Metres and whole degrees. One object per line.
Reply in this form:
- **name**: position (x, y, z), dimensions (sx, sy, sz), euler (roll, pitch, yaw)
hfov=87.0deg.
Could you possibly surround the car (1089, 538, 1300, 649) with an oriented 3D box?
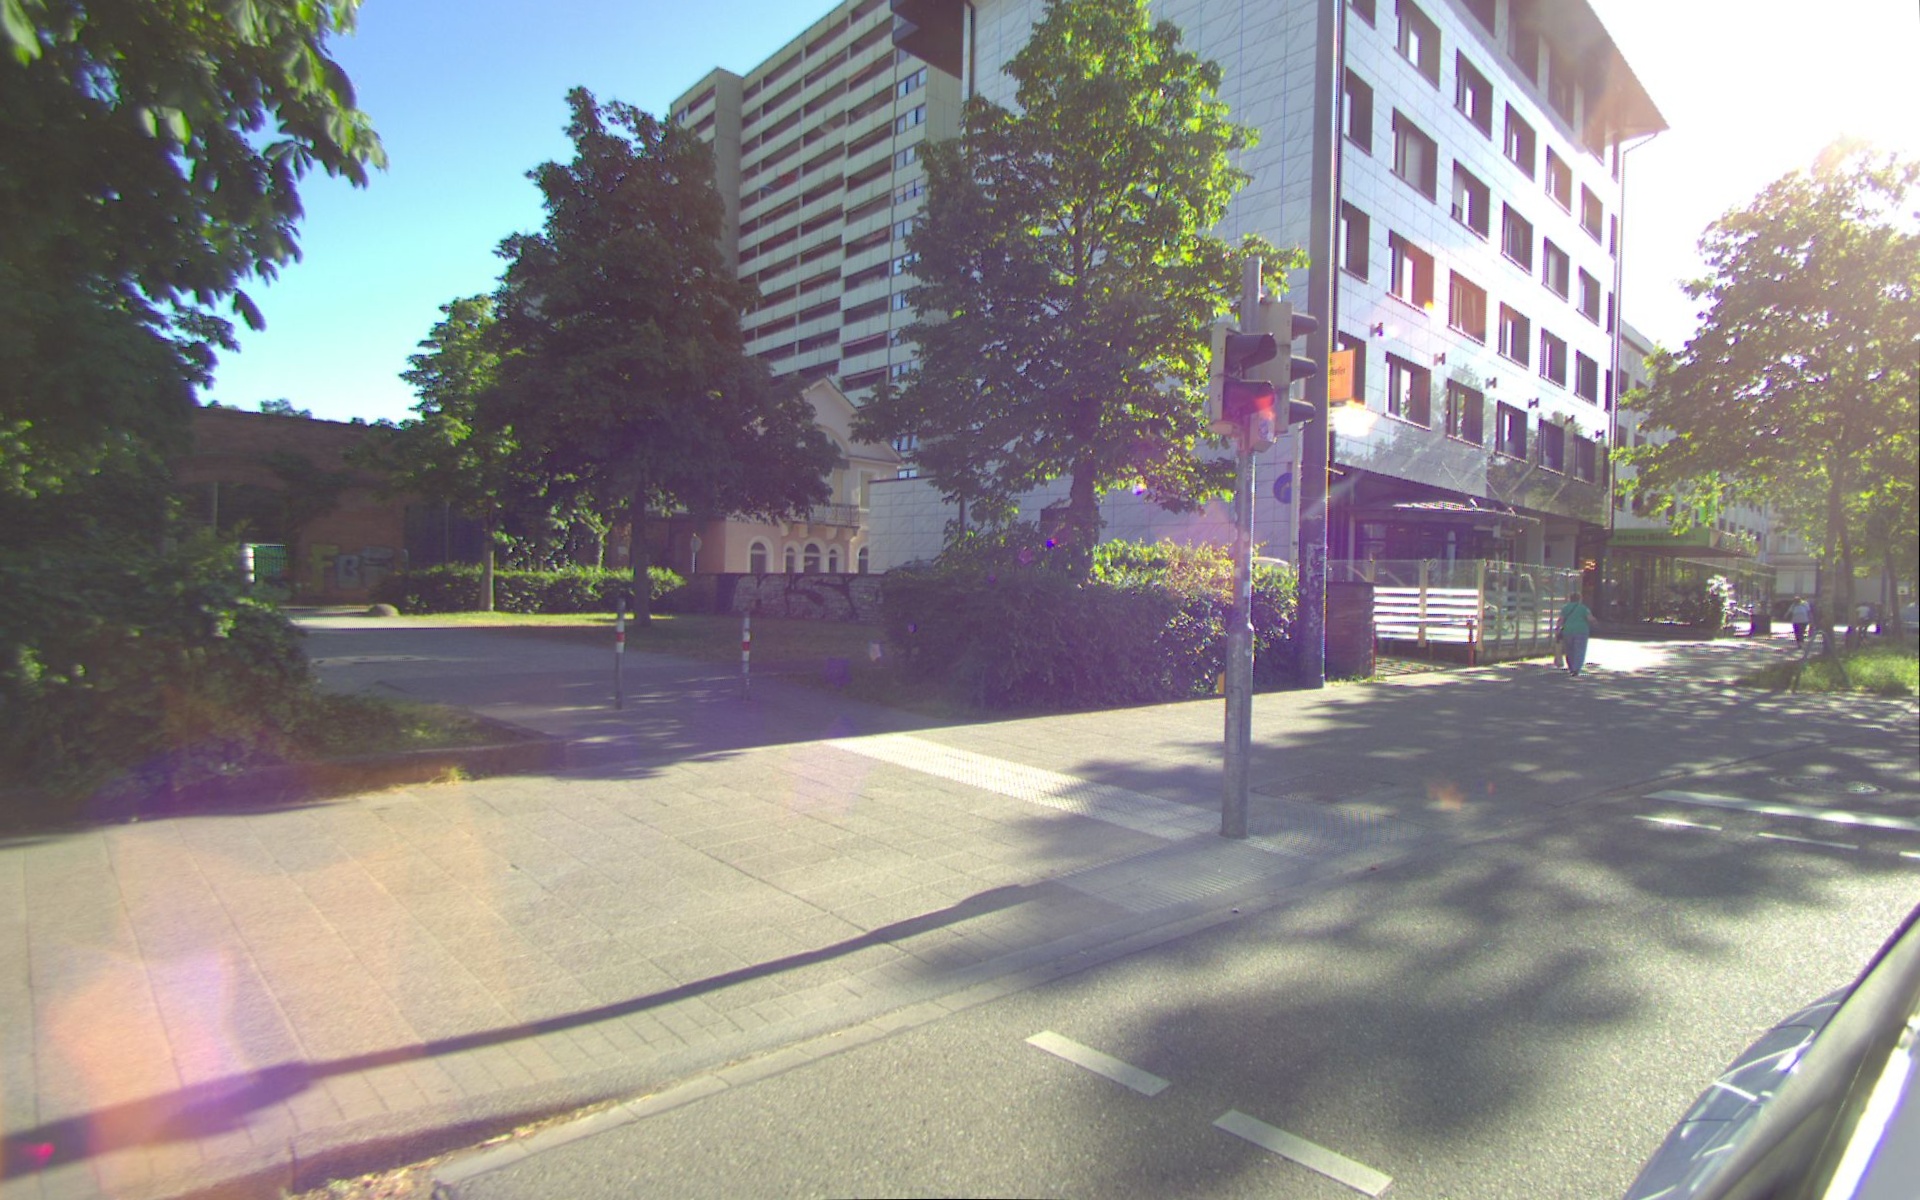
- **car**: position (5.030, -0.214, 22.060), dimensions (3.990, 2.123, 1.968), euler (4, 3, 45)

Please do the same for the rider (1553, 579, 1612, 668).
- **rider**: position (11.798, 0.432, 19.177), dimensions (0.777, 1.610, 0.778), euler (3, 2, 43)

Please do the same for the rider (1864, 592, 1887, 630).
- **rider**: position (42.951, 0.498, 47.472), dimensions (0.757, 1.749, 0.881), euler (-1, -1, 45)

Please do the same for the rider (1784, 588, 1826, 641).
- **rider**: position (27.470, 0.469, 32.887), dimensions (0.961, 1.699, 0.923), euler (0, -1, -43)
